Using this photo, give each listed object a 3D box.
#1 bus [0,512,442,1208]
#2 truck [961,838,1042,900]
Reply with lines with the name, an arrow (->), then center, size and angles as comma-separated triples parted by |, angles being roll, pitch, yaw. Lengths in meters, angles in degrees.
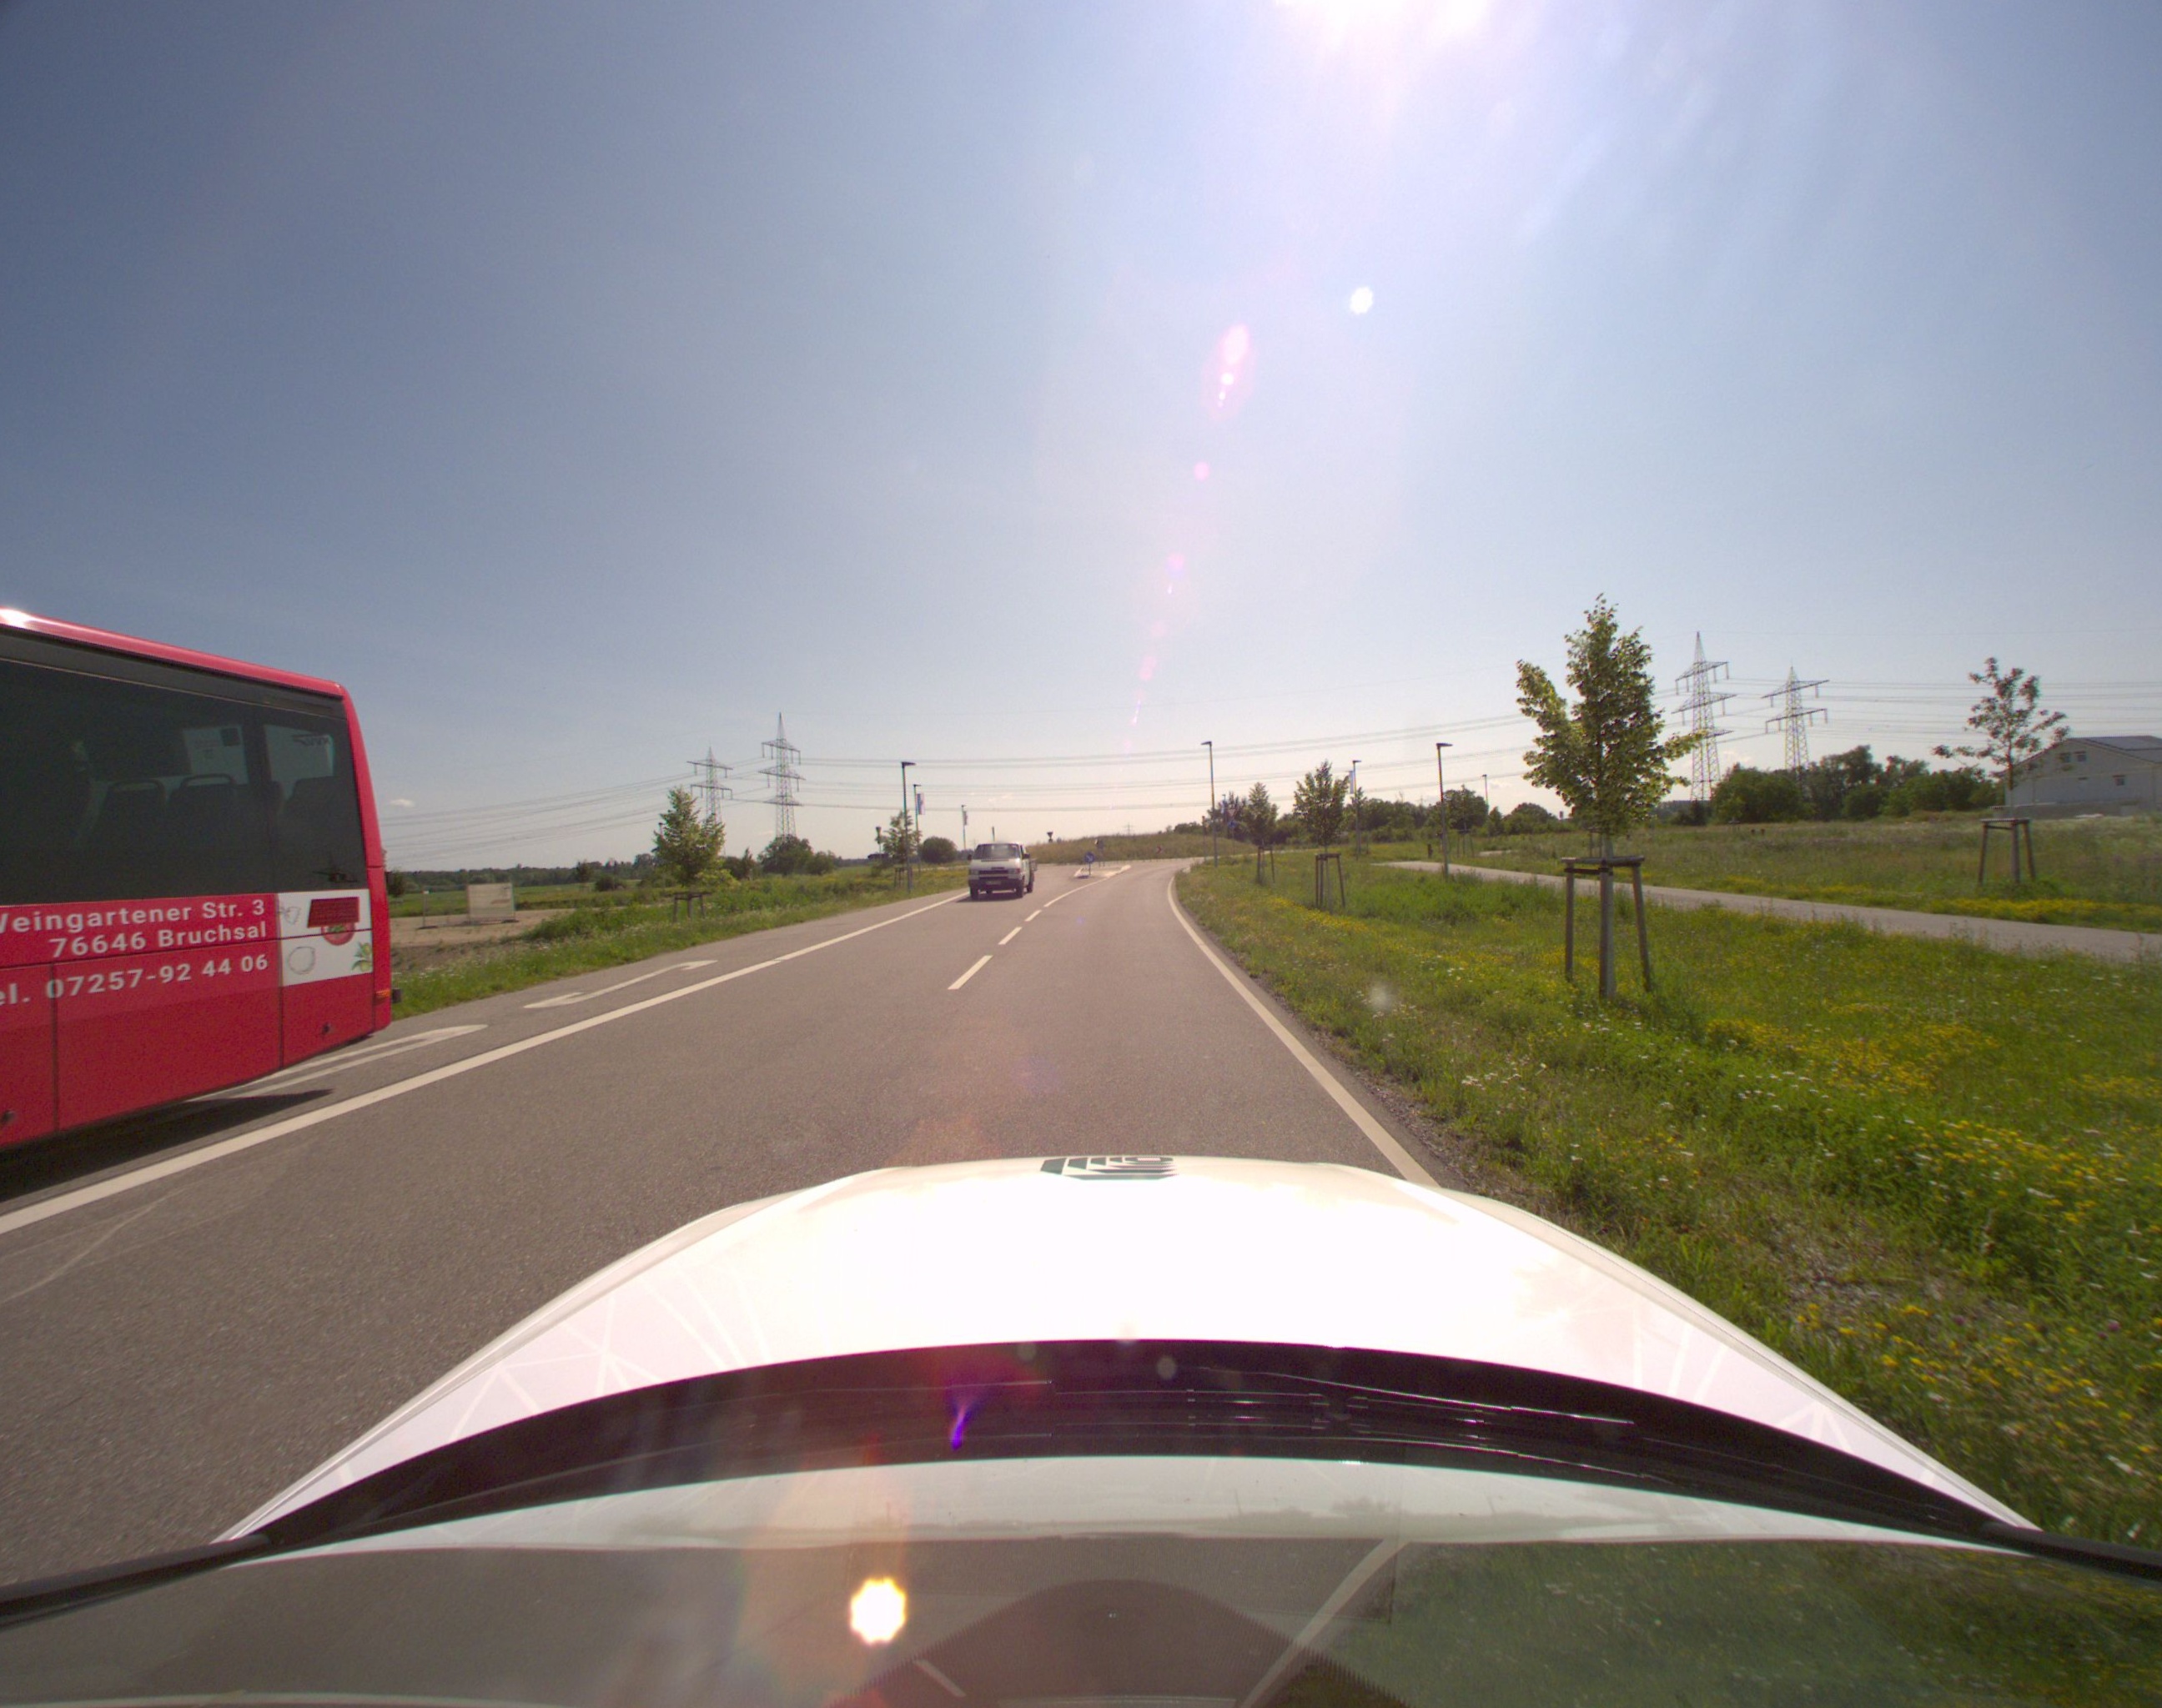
bus -> -6.510, 0.067, 0.282 | 2.785, 3.287, 12.228 | -2, 0, 0
truck -> -2.730, 0.454, 29.441 | 1.943, 1.984, 5.651 | -1, 1, 4
